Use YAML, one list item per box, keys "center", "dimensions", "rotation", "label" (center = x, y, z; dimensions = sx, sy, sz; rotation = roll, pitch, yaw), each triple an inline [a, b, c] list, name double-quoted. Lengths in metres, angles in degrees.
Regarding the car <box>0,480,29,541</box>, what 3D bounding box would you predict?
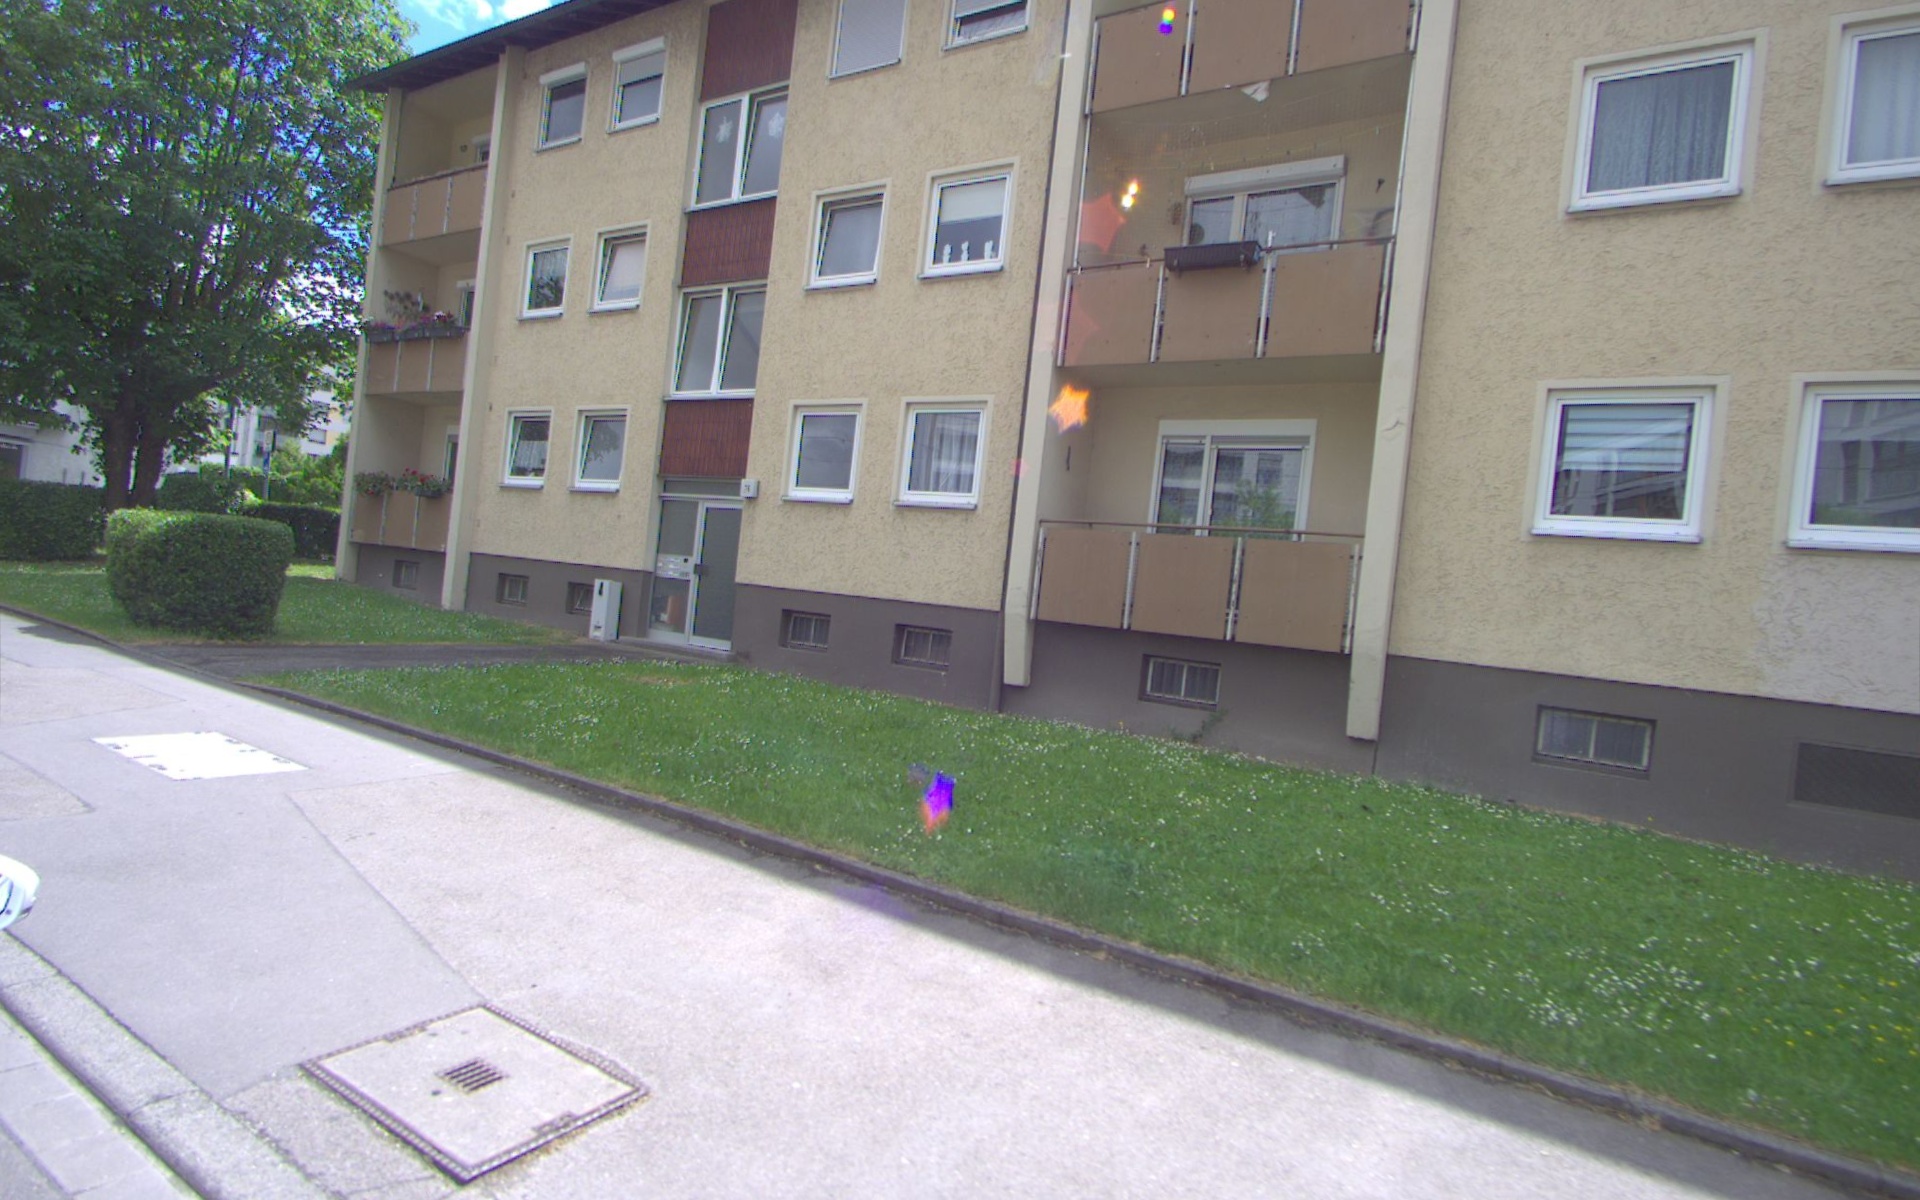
- center: [-27.131, -2.604, 26.493]
  dimensions: [3.682, 1.542, 1.976]
  rotation: [7, 2, -41]
  label: "car"
